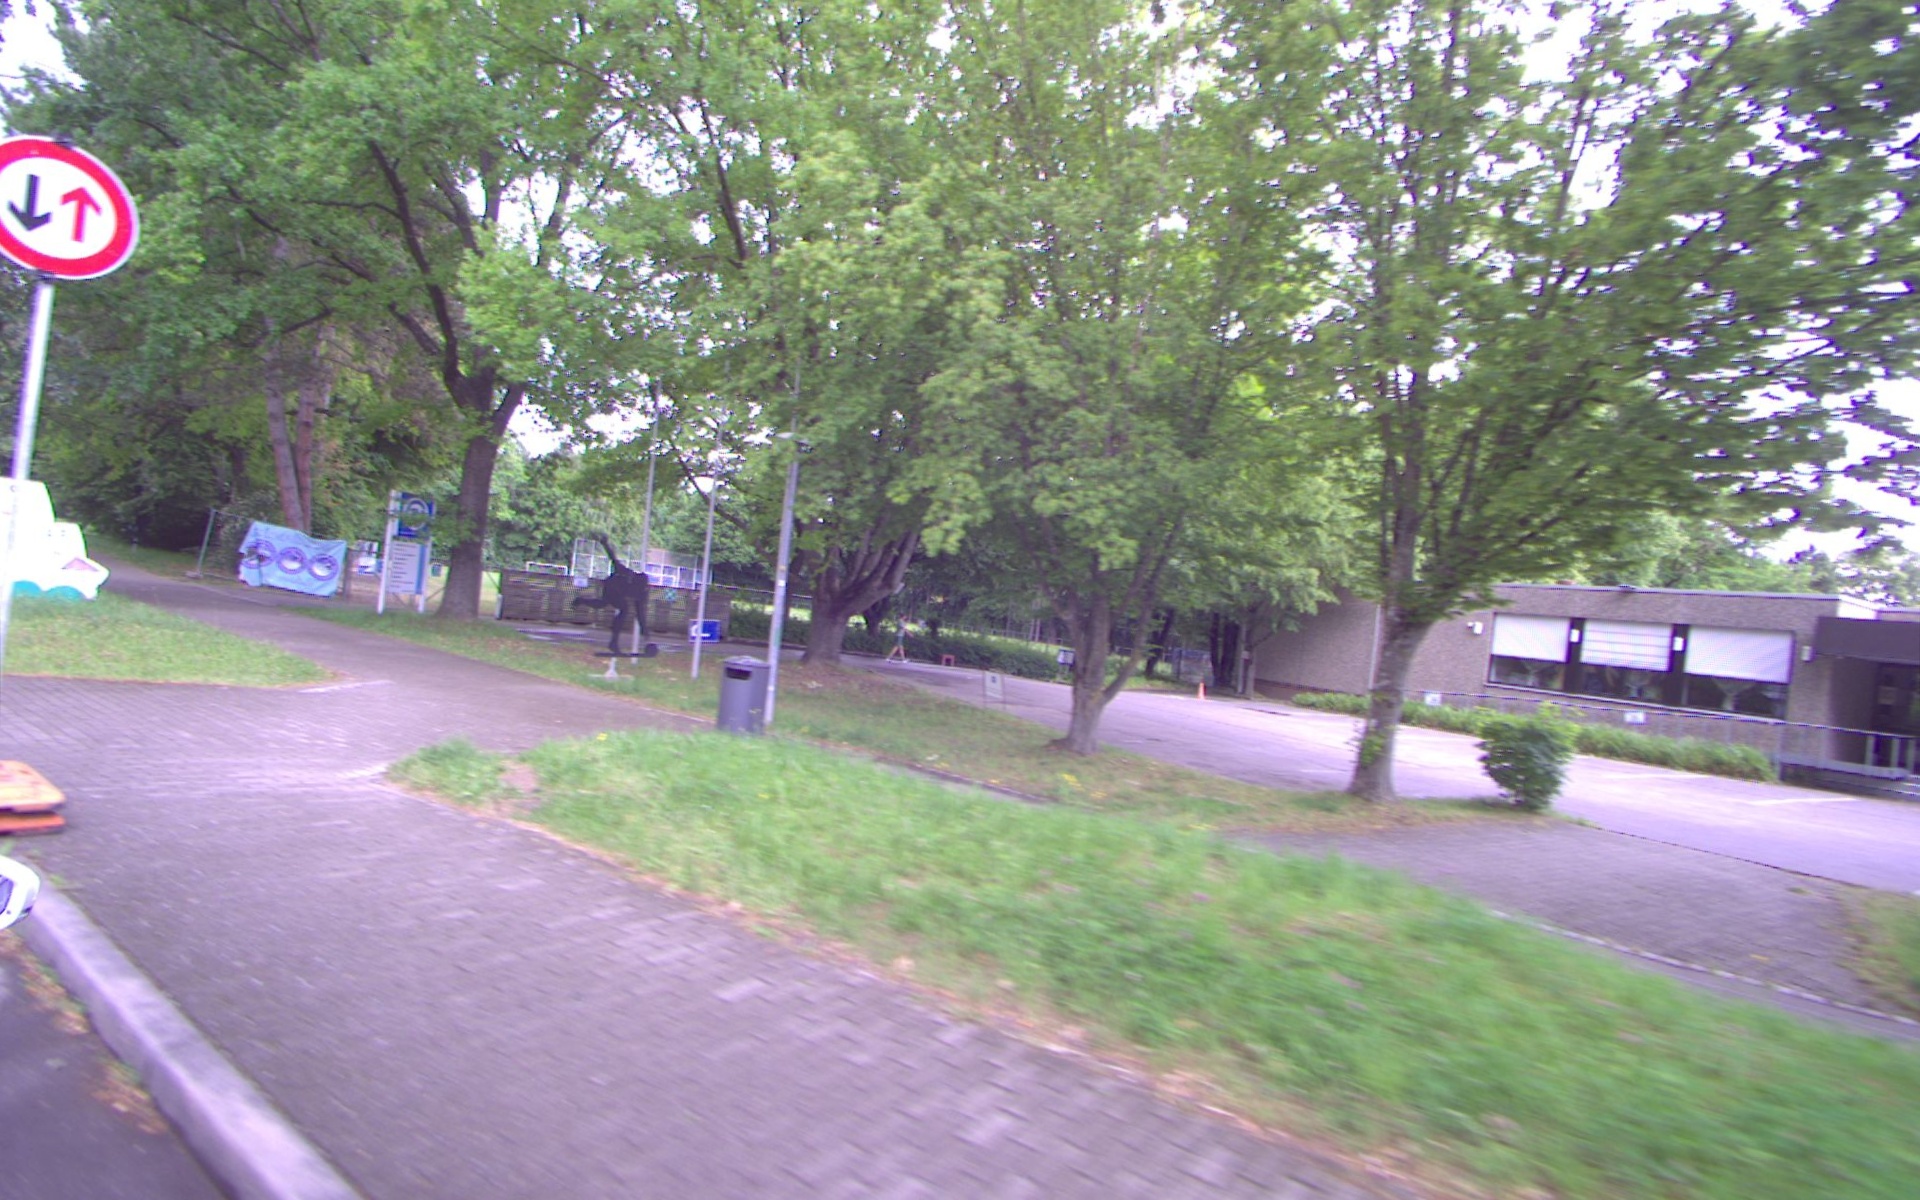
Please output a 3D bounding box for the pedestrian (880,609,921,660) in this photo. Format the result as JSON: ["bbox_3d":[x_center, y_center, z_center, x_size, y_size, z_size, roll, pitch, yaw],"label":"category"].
[{"bbox_3d":[-2.136,1.242,36.052,1.137,1.696,0.788,4,1,-28],"label":"pedestrian"}]
